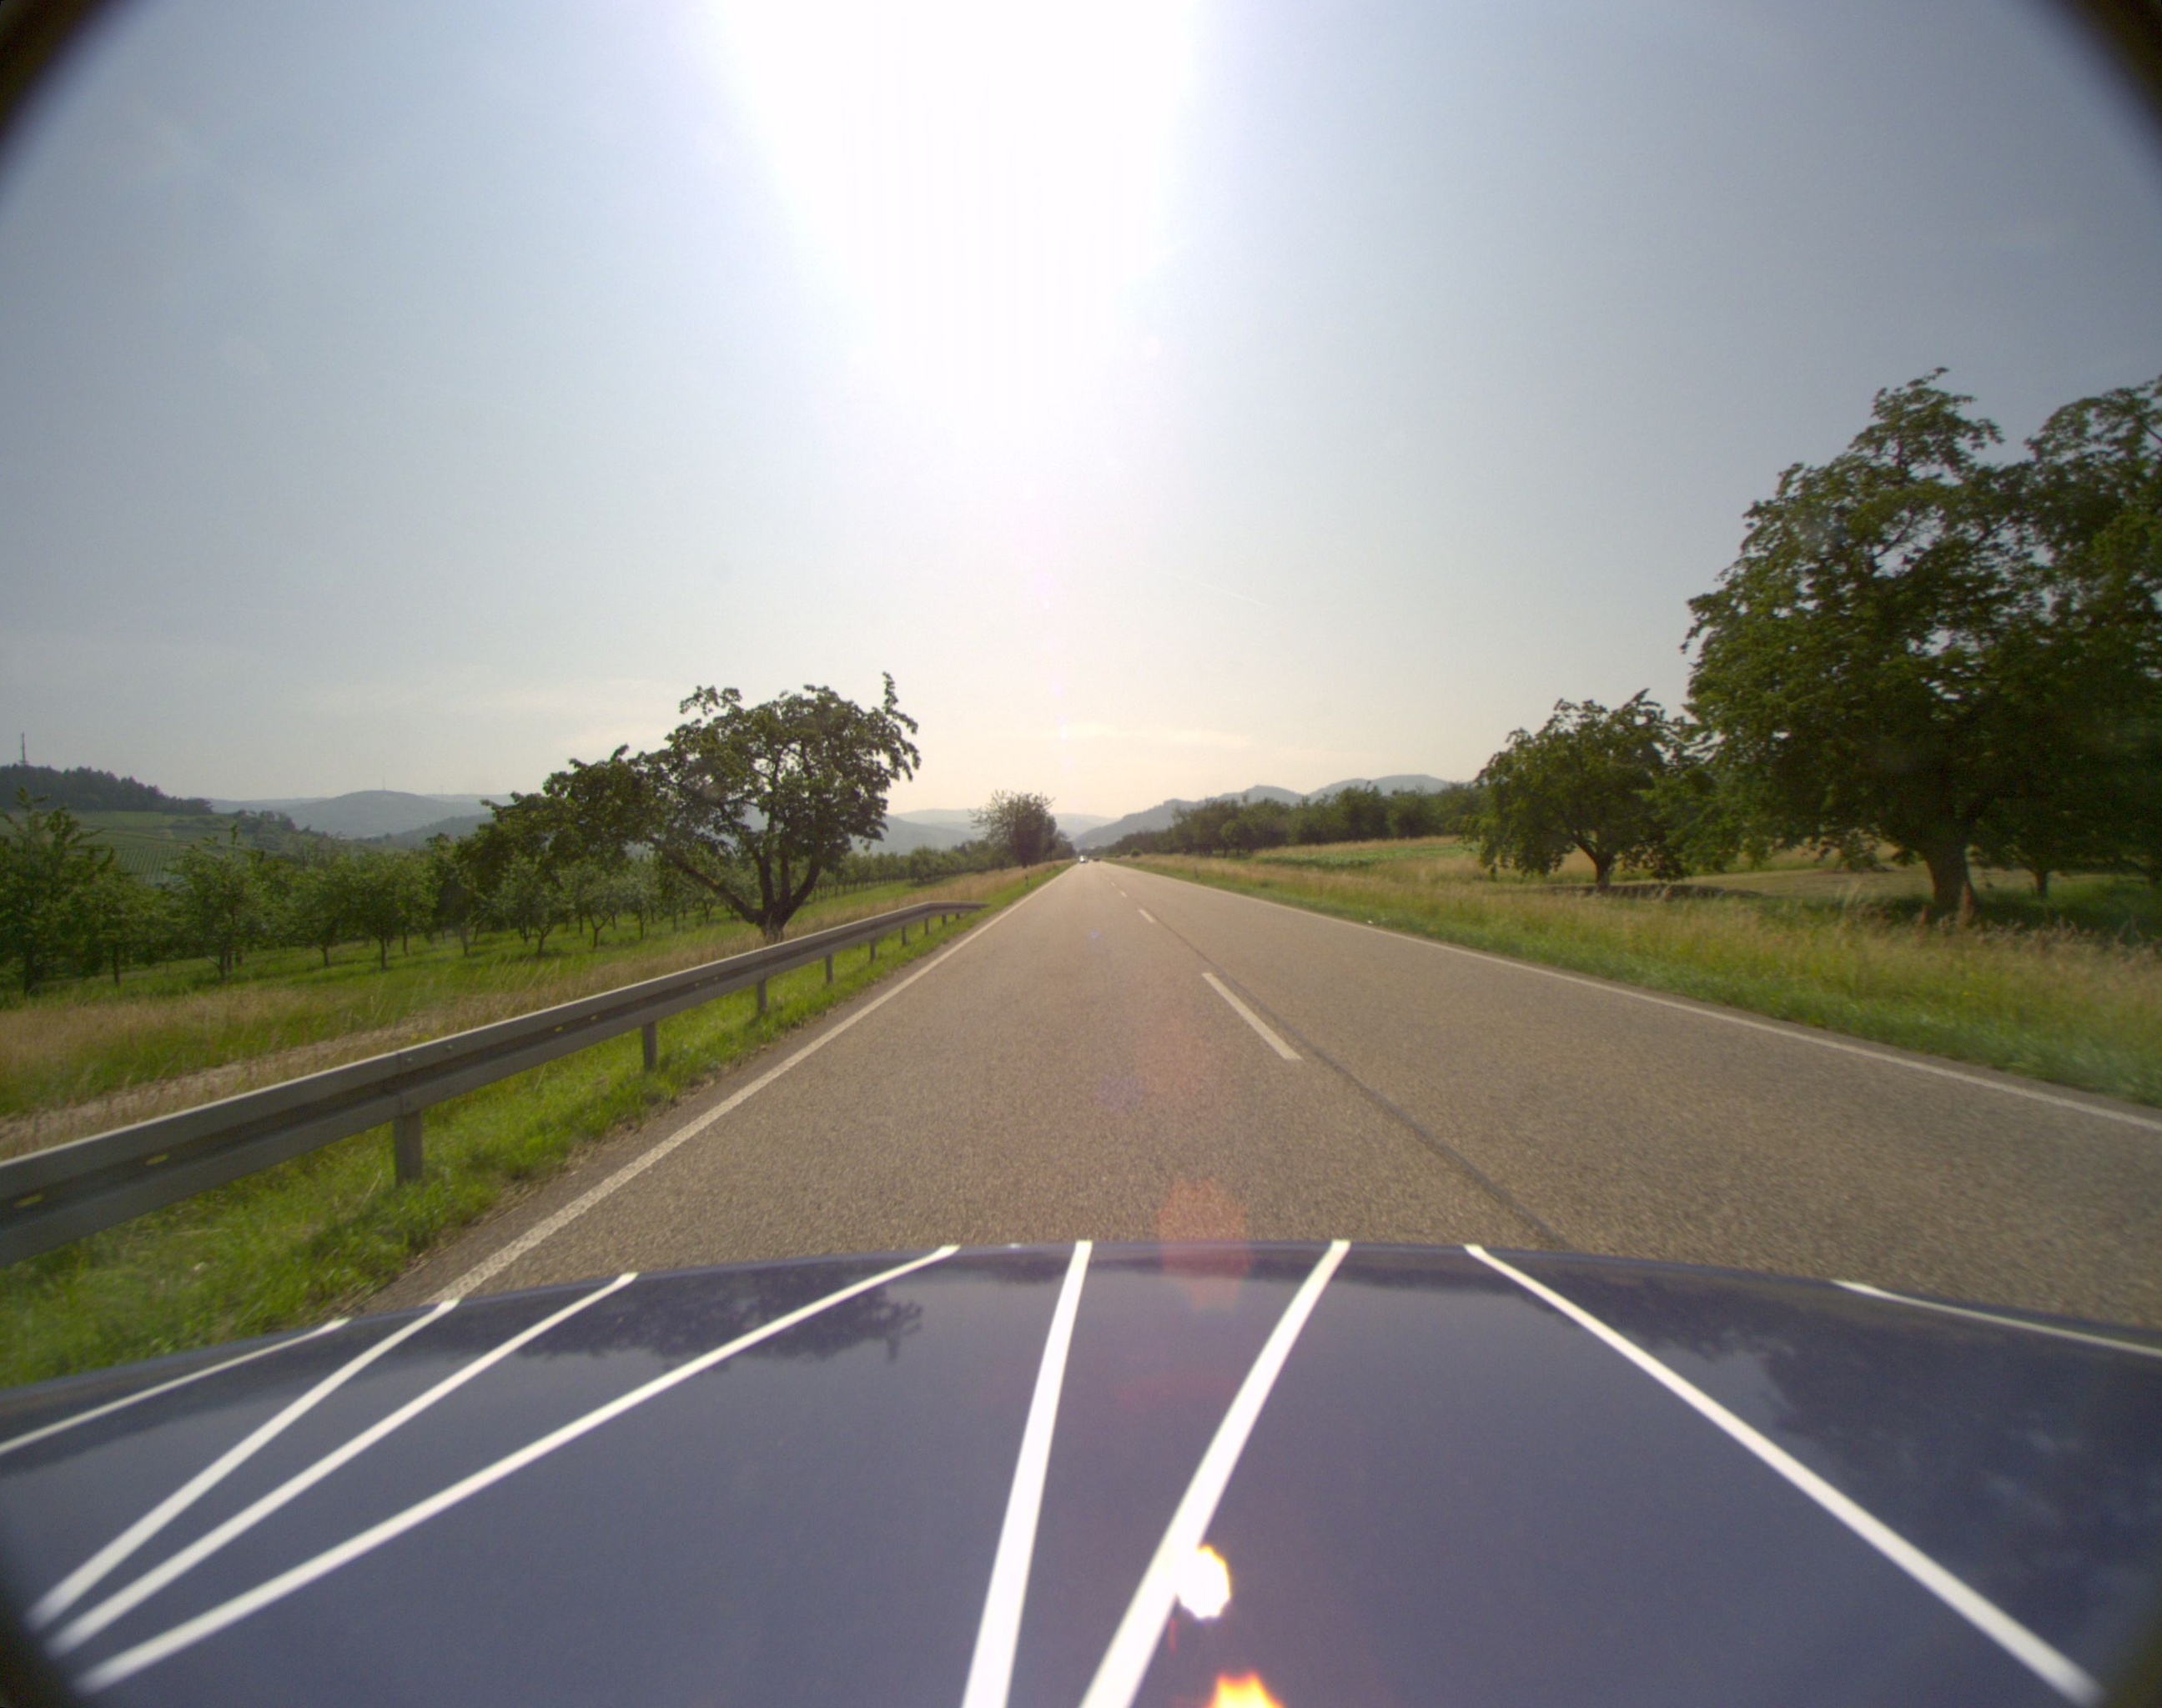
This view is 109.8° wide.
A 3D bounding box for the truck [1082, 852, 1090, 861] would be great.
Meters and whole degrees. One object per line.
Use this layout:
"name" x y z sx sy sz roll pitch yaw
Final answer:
"truck" 1.349 0.720 204.623 2.031 2.233 4.765 -2 1 3
